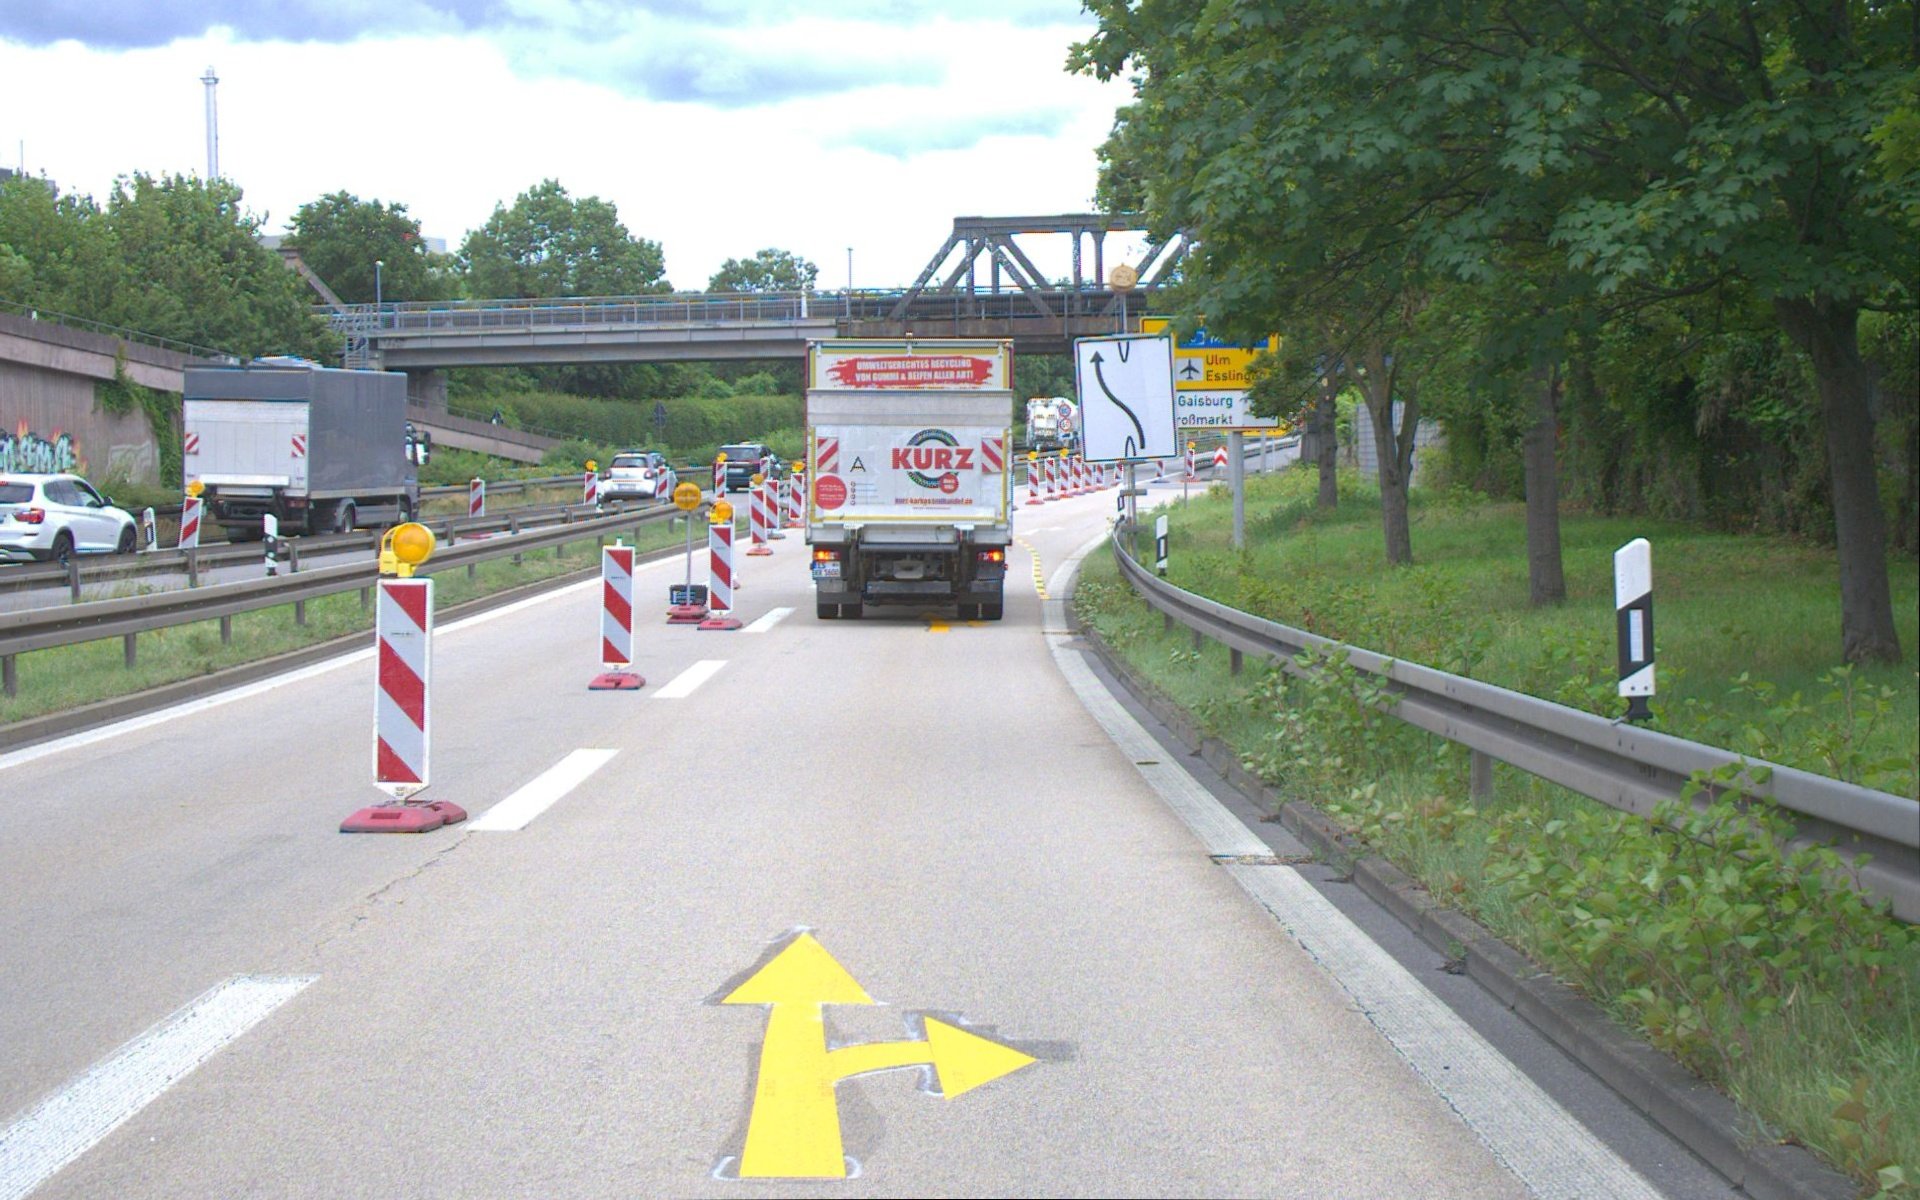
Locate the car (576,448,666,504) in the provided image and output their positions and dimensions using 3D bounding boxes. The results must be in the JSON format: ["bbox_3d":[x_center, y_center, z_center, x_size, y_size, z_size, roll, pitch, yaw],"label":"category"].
[{"bbox_3d":[-10.007,-3.678,101.738,1.994,1.612,4.000,0,2,4],"label":"car"}]

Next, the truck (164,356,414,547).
[{"bbox_3d":[-13.505,-2.995,69.847,3.051,3.643,7.395,0,2,5],"label":"truck"}]

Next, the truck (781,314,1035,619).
[{"bbox_3d":[-0.591,-1.704,45.439,3.051,3.660,7.928,0,1,1],"label":"truck"}]

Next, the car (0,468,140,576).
[{"bbox_3d":[-15.236,-1.313,56.567,1.994,1.706,4.100,0,2,8],"label":"car"}]

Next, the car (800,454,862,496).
[{"bbox_3d":[-5.077,-4.935,135.661,1.994,1.612,4.000,0,2,4],"label":"car"}]

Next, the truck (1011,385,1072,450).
[{"bbox_3d":[5.007,-11.122,209.844,3.287,3.839,7.664,0,2,4],"label":"truck"}]

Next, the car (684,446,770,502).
[{"bbox_3d":[-6.901,-3.757,102.289,1.994,1.612,4.000,0,2,4],"label":"car"}]
